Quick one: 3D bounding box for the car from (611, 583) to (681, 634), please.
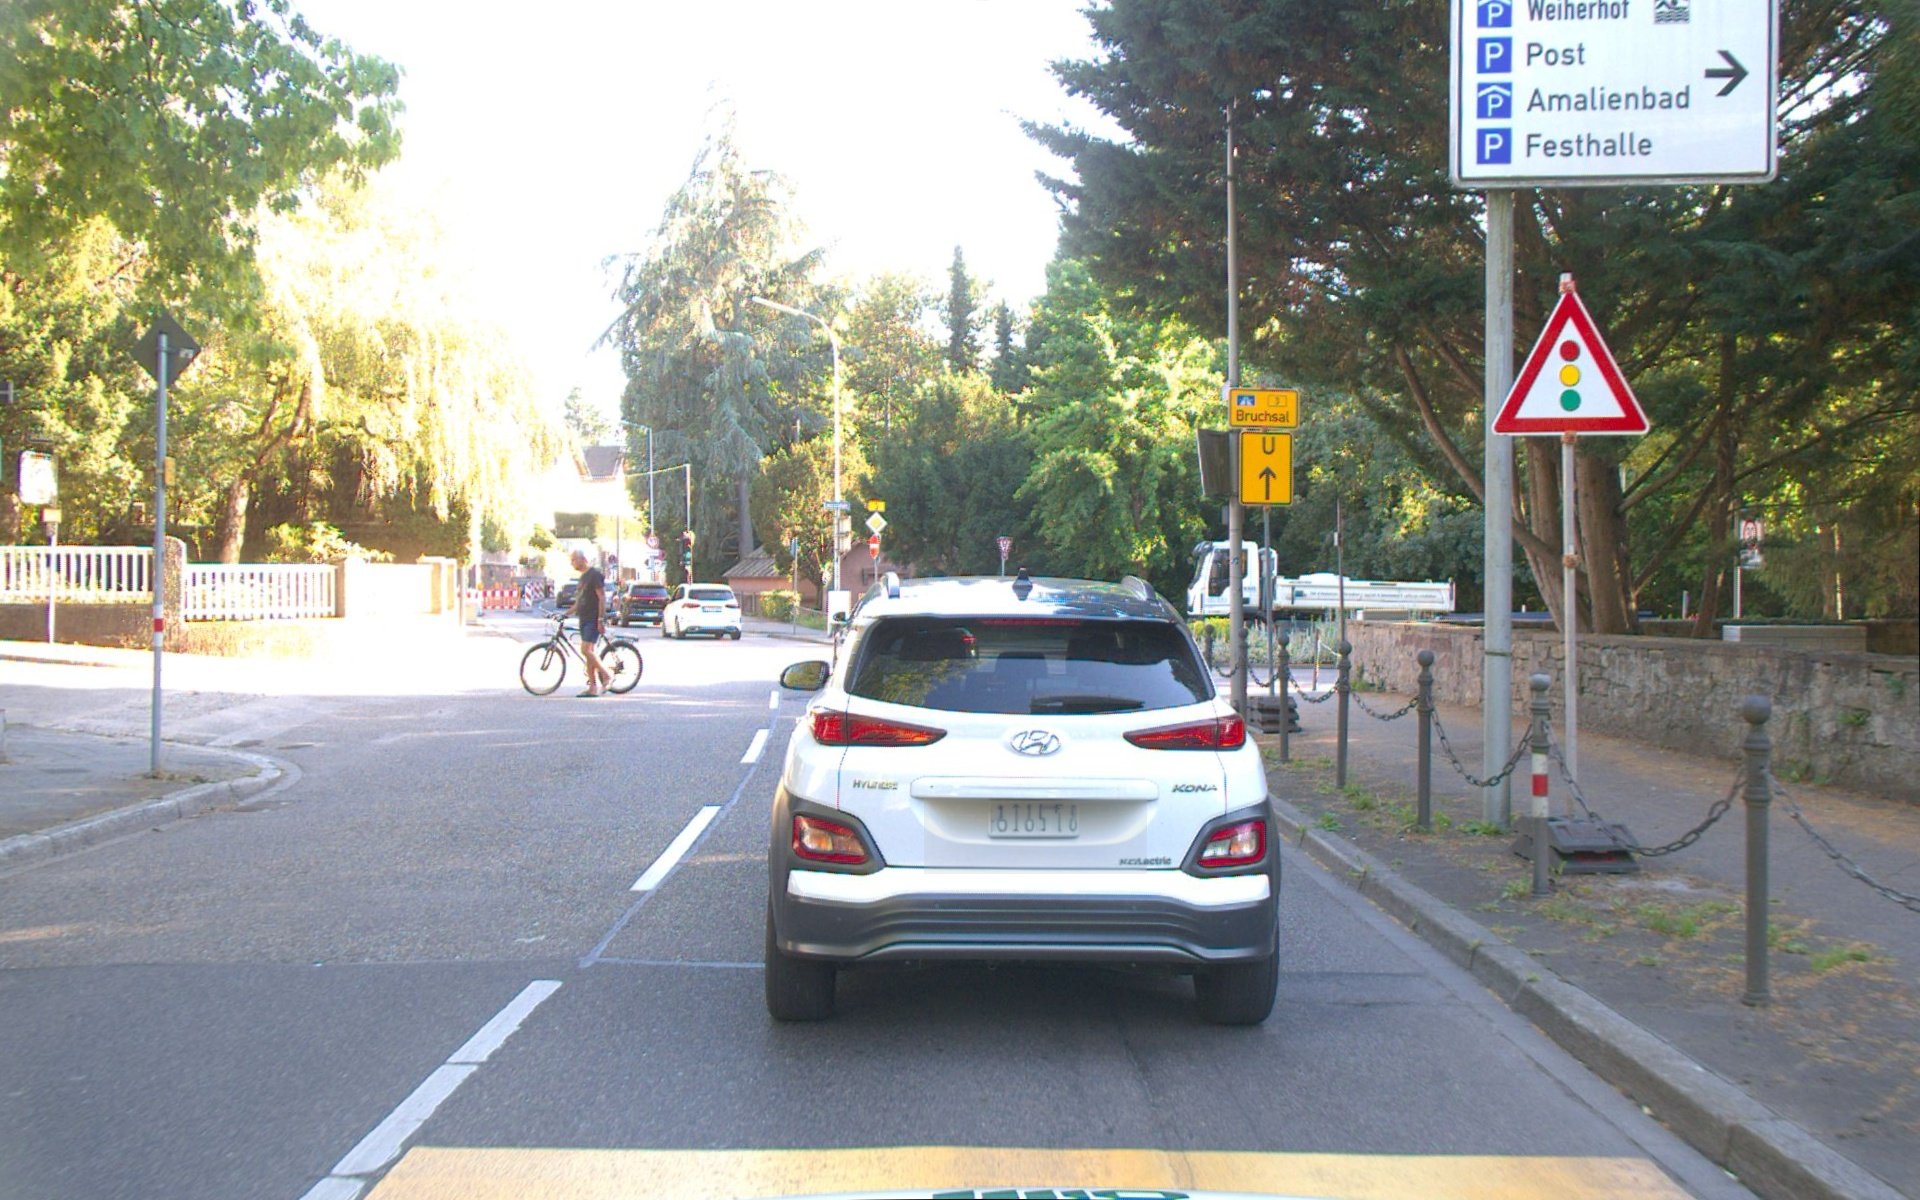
[{"bbox_3d":[-11.251,0.294,59.139,1.805,1.691,3.977,2,0,-20],"label":"car"}]

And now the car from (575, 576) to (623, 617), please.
[{"bbox_3d":[-16.196,-0.177,74.021,1.802,1.771,3.982,2,0,-16],"label":"car"}]

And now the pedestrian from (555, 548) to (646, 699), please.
[{"bbox_3d":[-4.557,0.294,21.001,0.934,1.858,0.547,2,1,-39],"label":"pedestrian"}]

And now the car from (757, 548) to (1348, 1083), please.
[{"bbox_3d":[0.255,0.655,7.108,1.783,1.601,3.999,2,0,-1],"label":"car"}]

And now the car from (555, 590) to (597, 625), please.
[{"bbox_3d":[-20.218,0.374,86.930,1.803,1.691,3.980,2,0,-18],"label":"car"}]

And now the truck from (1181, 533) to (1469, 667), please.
[{"bbox_3d":[8.699,-0.014,40.022,6.449,2.945,2.434,2,0,4],"label":"truck"}]

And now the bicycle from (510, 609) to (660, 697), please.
[{"bbox_3d":[-4.817,0.676,21.328,1.799,1.061,0.554,2,2,-38],"label":"bicycle"}]

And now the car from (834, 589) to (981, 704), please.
[{"bbox_3d":[-0.853,0.601,23.914,1.676,1.459,4.358,2,0,-7],"label":"car"}]

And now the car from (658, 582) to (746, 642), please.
[{"bbox_3d":[-7.341,0.302,46.788,1.778,1.564,3.979,2,0,-19],"label":"car"}]

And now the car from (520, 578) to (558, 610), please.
[{"bbox_3d":[-23.955,-0.351,94.052,1.804,1.691,3.979,2,0,-19],"label":"car"}]
